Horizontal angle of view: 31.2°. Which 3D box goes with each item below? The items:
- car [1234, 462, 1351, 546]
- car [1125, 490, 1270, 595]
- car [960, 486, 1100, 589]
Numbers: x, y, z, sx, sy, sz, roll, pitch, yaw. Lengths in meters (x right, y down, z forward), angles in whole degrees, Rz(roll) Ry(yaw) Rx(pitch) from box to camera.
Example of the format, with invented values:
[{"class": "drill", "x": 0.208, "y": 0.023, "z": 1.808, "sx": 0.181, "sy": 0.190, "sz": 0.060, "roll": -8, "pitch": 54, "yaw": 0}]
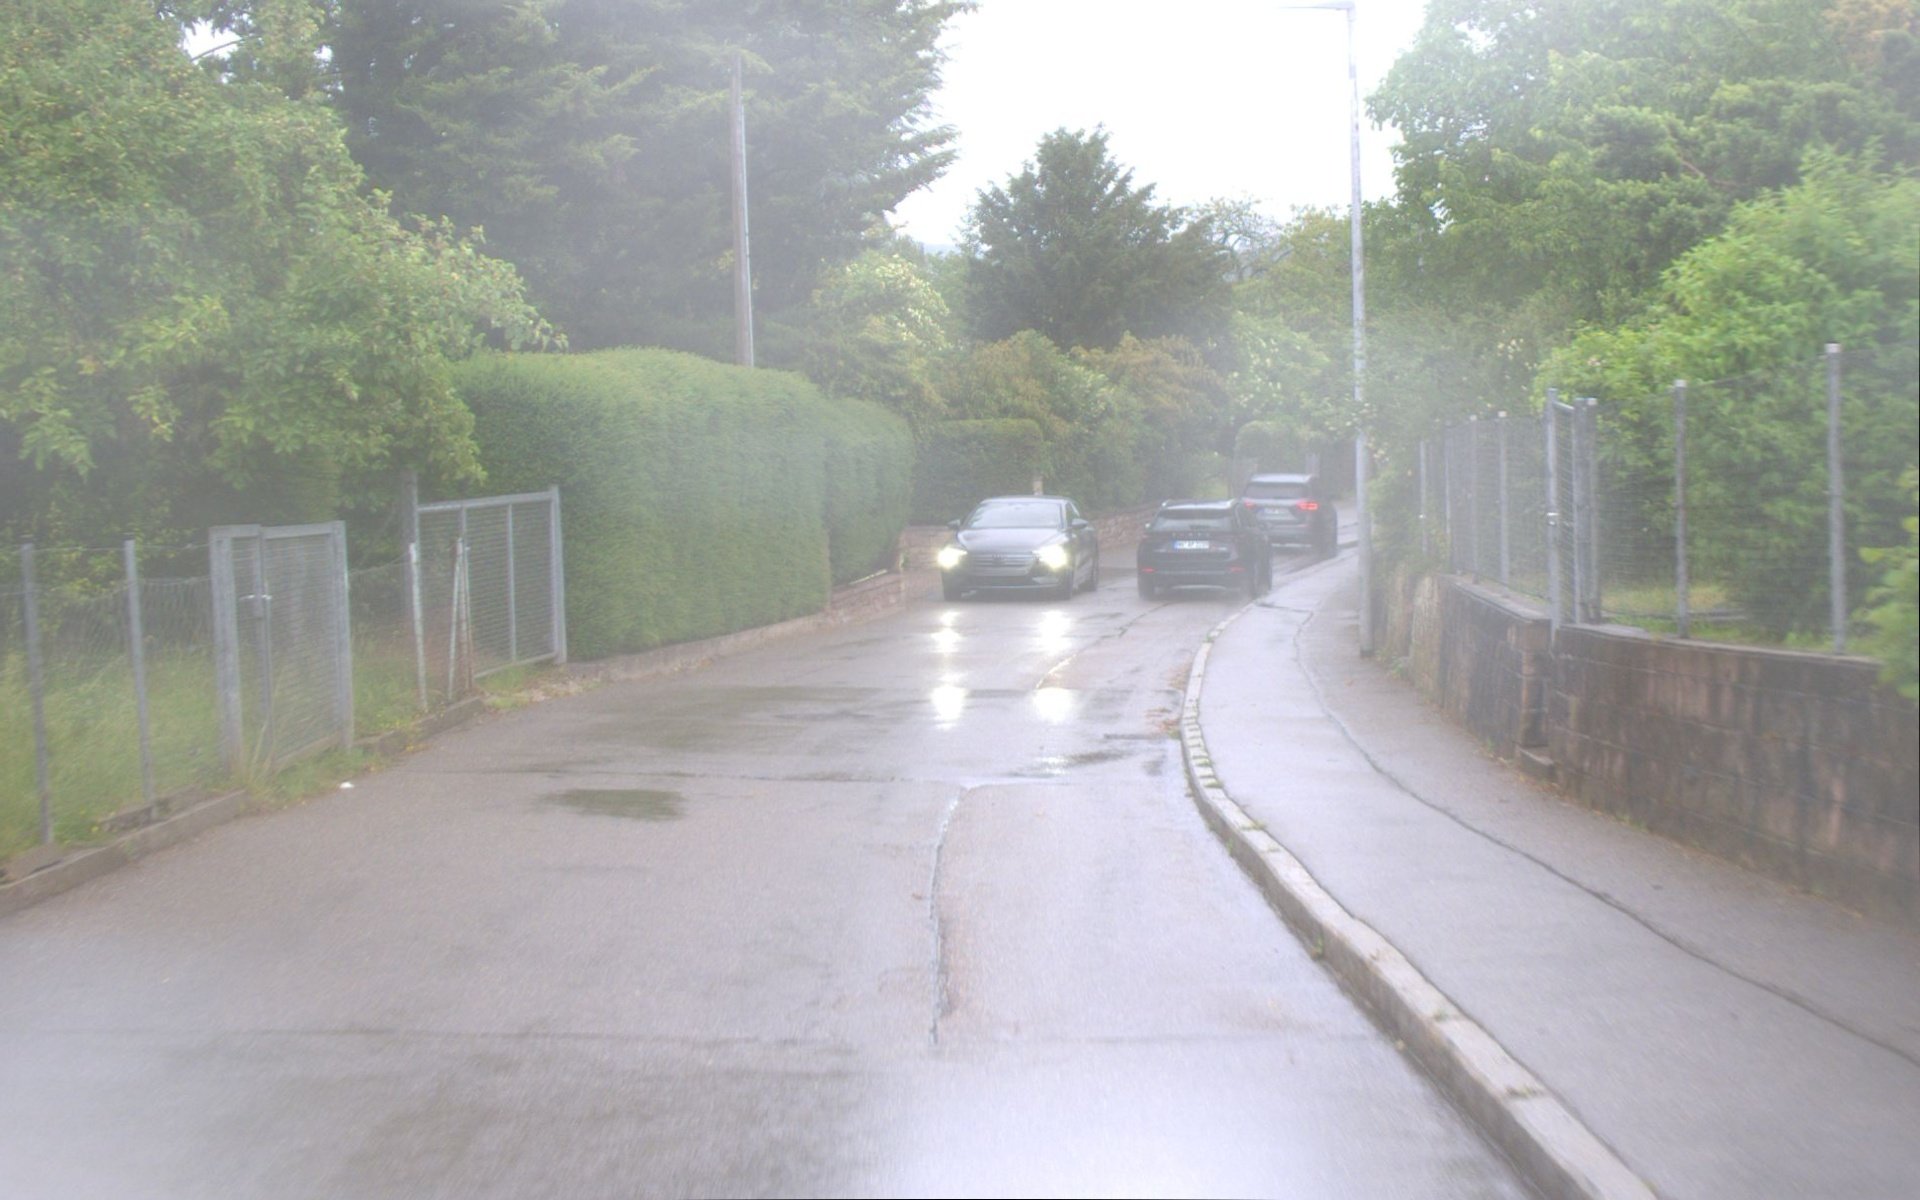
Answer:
[{"class": "car", "x": 6.646, "y": -1.933, "z": 68.371, "sx": 1.679, "sy": 1.559, "sz": 3.792, "roll": 2, "pitch": 3, "yaw": 15}, {"class": "car", "x": 3.614, "y": -0.864, "z": 51.798, "sx": 1.835, "sy": 1.459, "sz": 3.999, "roll": 2, "pitch": 1, "yaw": 8}, {"class": "car", "x": 1.087, "y": -0.966, "z": 51.704, "sx": 1.780, "sy": 1.489, "sz": 3.830, "roll": 0, "pitch": 2, "yaw": 6}]
